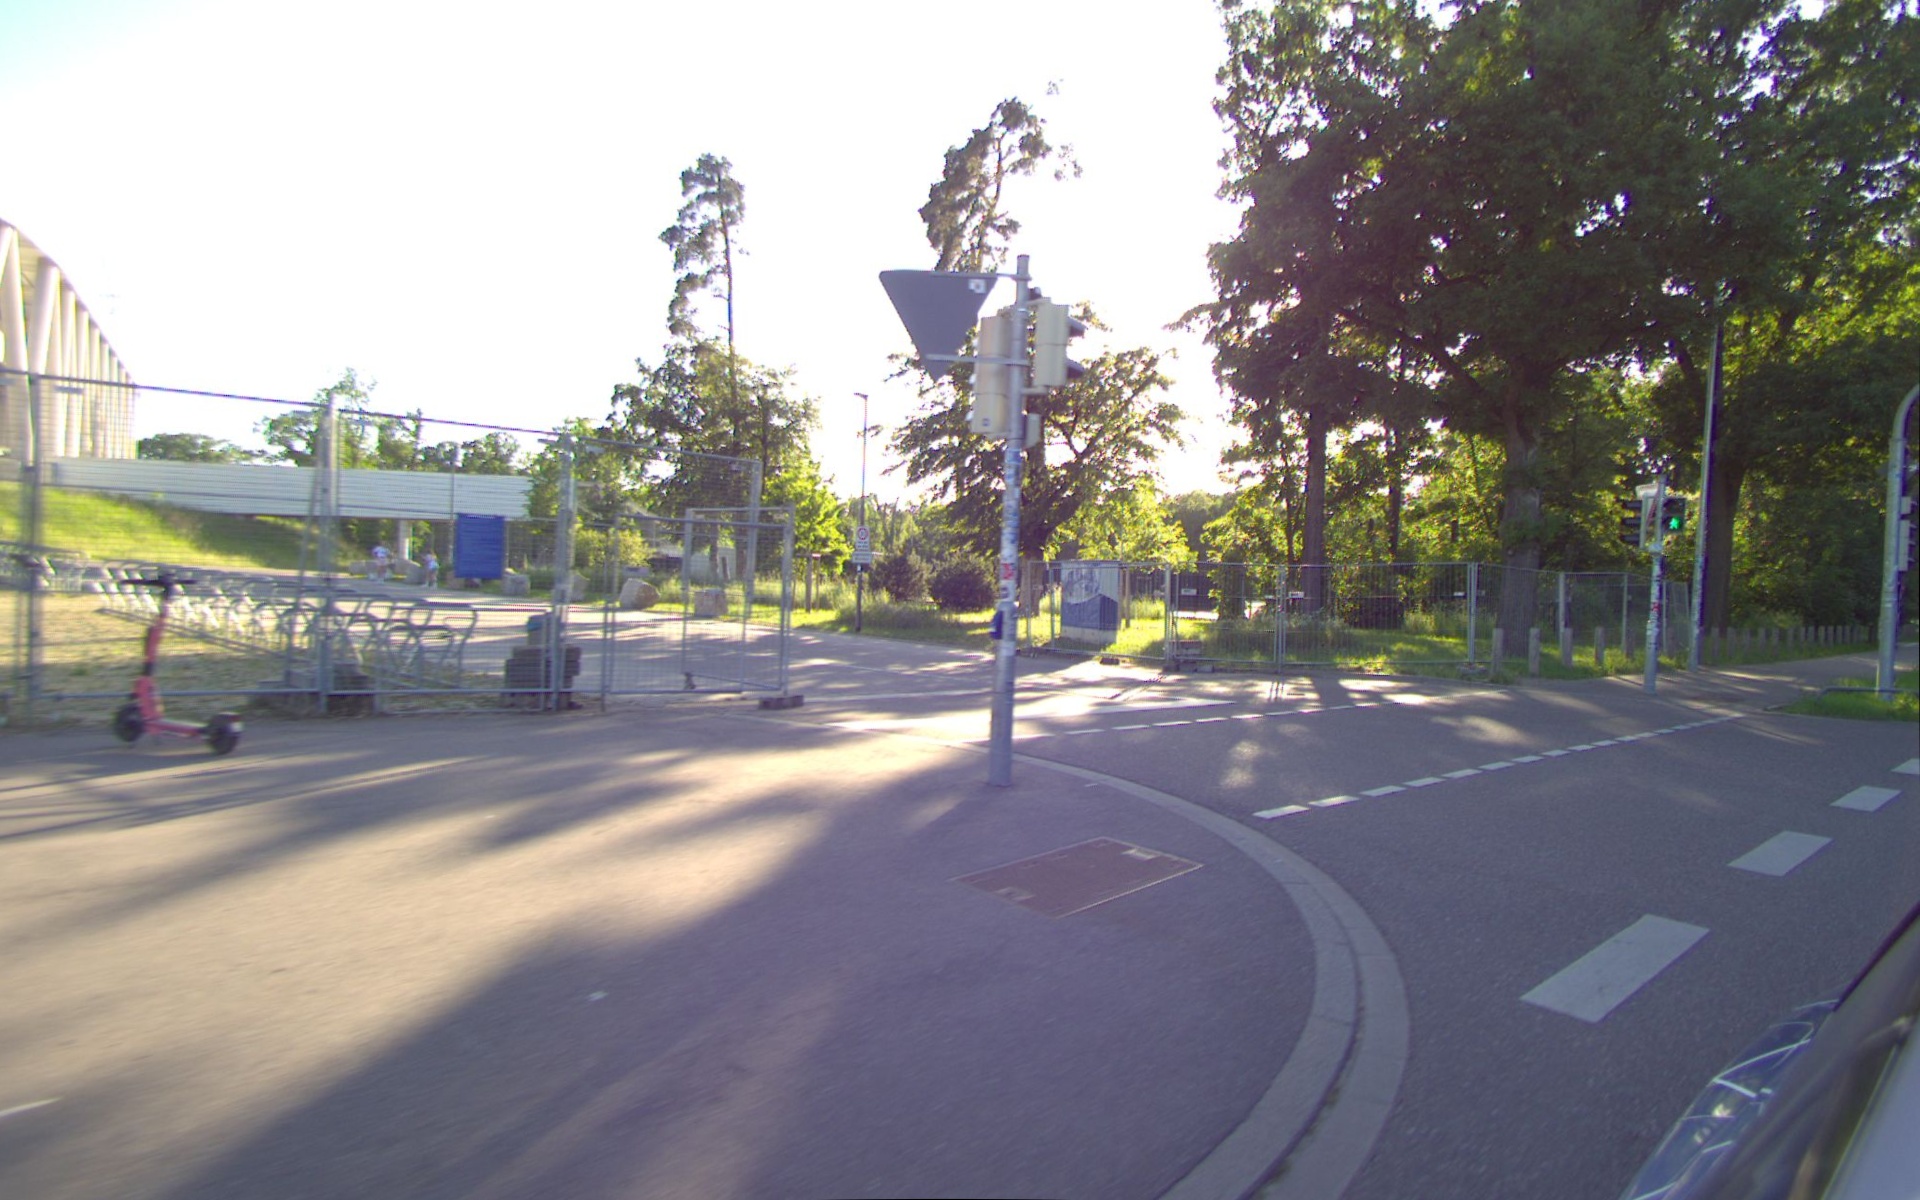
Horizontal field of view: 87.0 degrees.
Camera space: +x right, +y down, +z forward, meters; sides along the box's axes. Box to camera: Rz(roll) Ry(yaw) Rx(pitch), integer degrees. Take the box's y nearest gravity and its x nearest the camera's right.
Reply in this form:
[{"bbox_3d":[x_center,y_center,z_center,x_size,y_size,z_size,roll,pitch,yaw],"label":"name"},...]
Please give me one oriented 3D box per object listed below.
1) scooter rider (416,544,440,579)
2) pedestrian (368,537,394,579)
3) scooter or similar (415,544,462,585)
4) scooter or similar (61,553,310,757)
[{"bbox_3d":[-19.997,-1.435,38.049,0.538,1.290,0.602,1,-1,22],"label":"scooter rider"},{"bbox_3d":[-22.291,-1.597,38.948,0.723,1.582,0.580,1,-1,-45],"label":"pedestrian"},{"bbox_3d":[-19.797,-1.333,38.454,0.640,1.509,1.518,1,-1,20],"label":"scooter or similar"},{"bbox_3d":[-5.405,0.351,7.093,1.338,1.304,0.602,2,1,8],"label":"scooter or similar"}]
